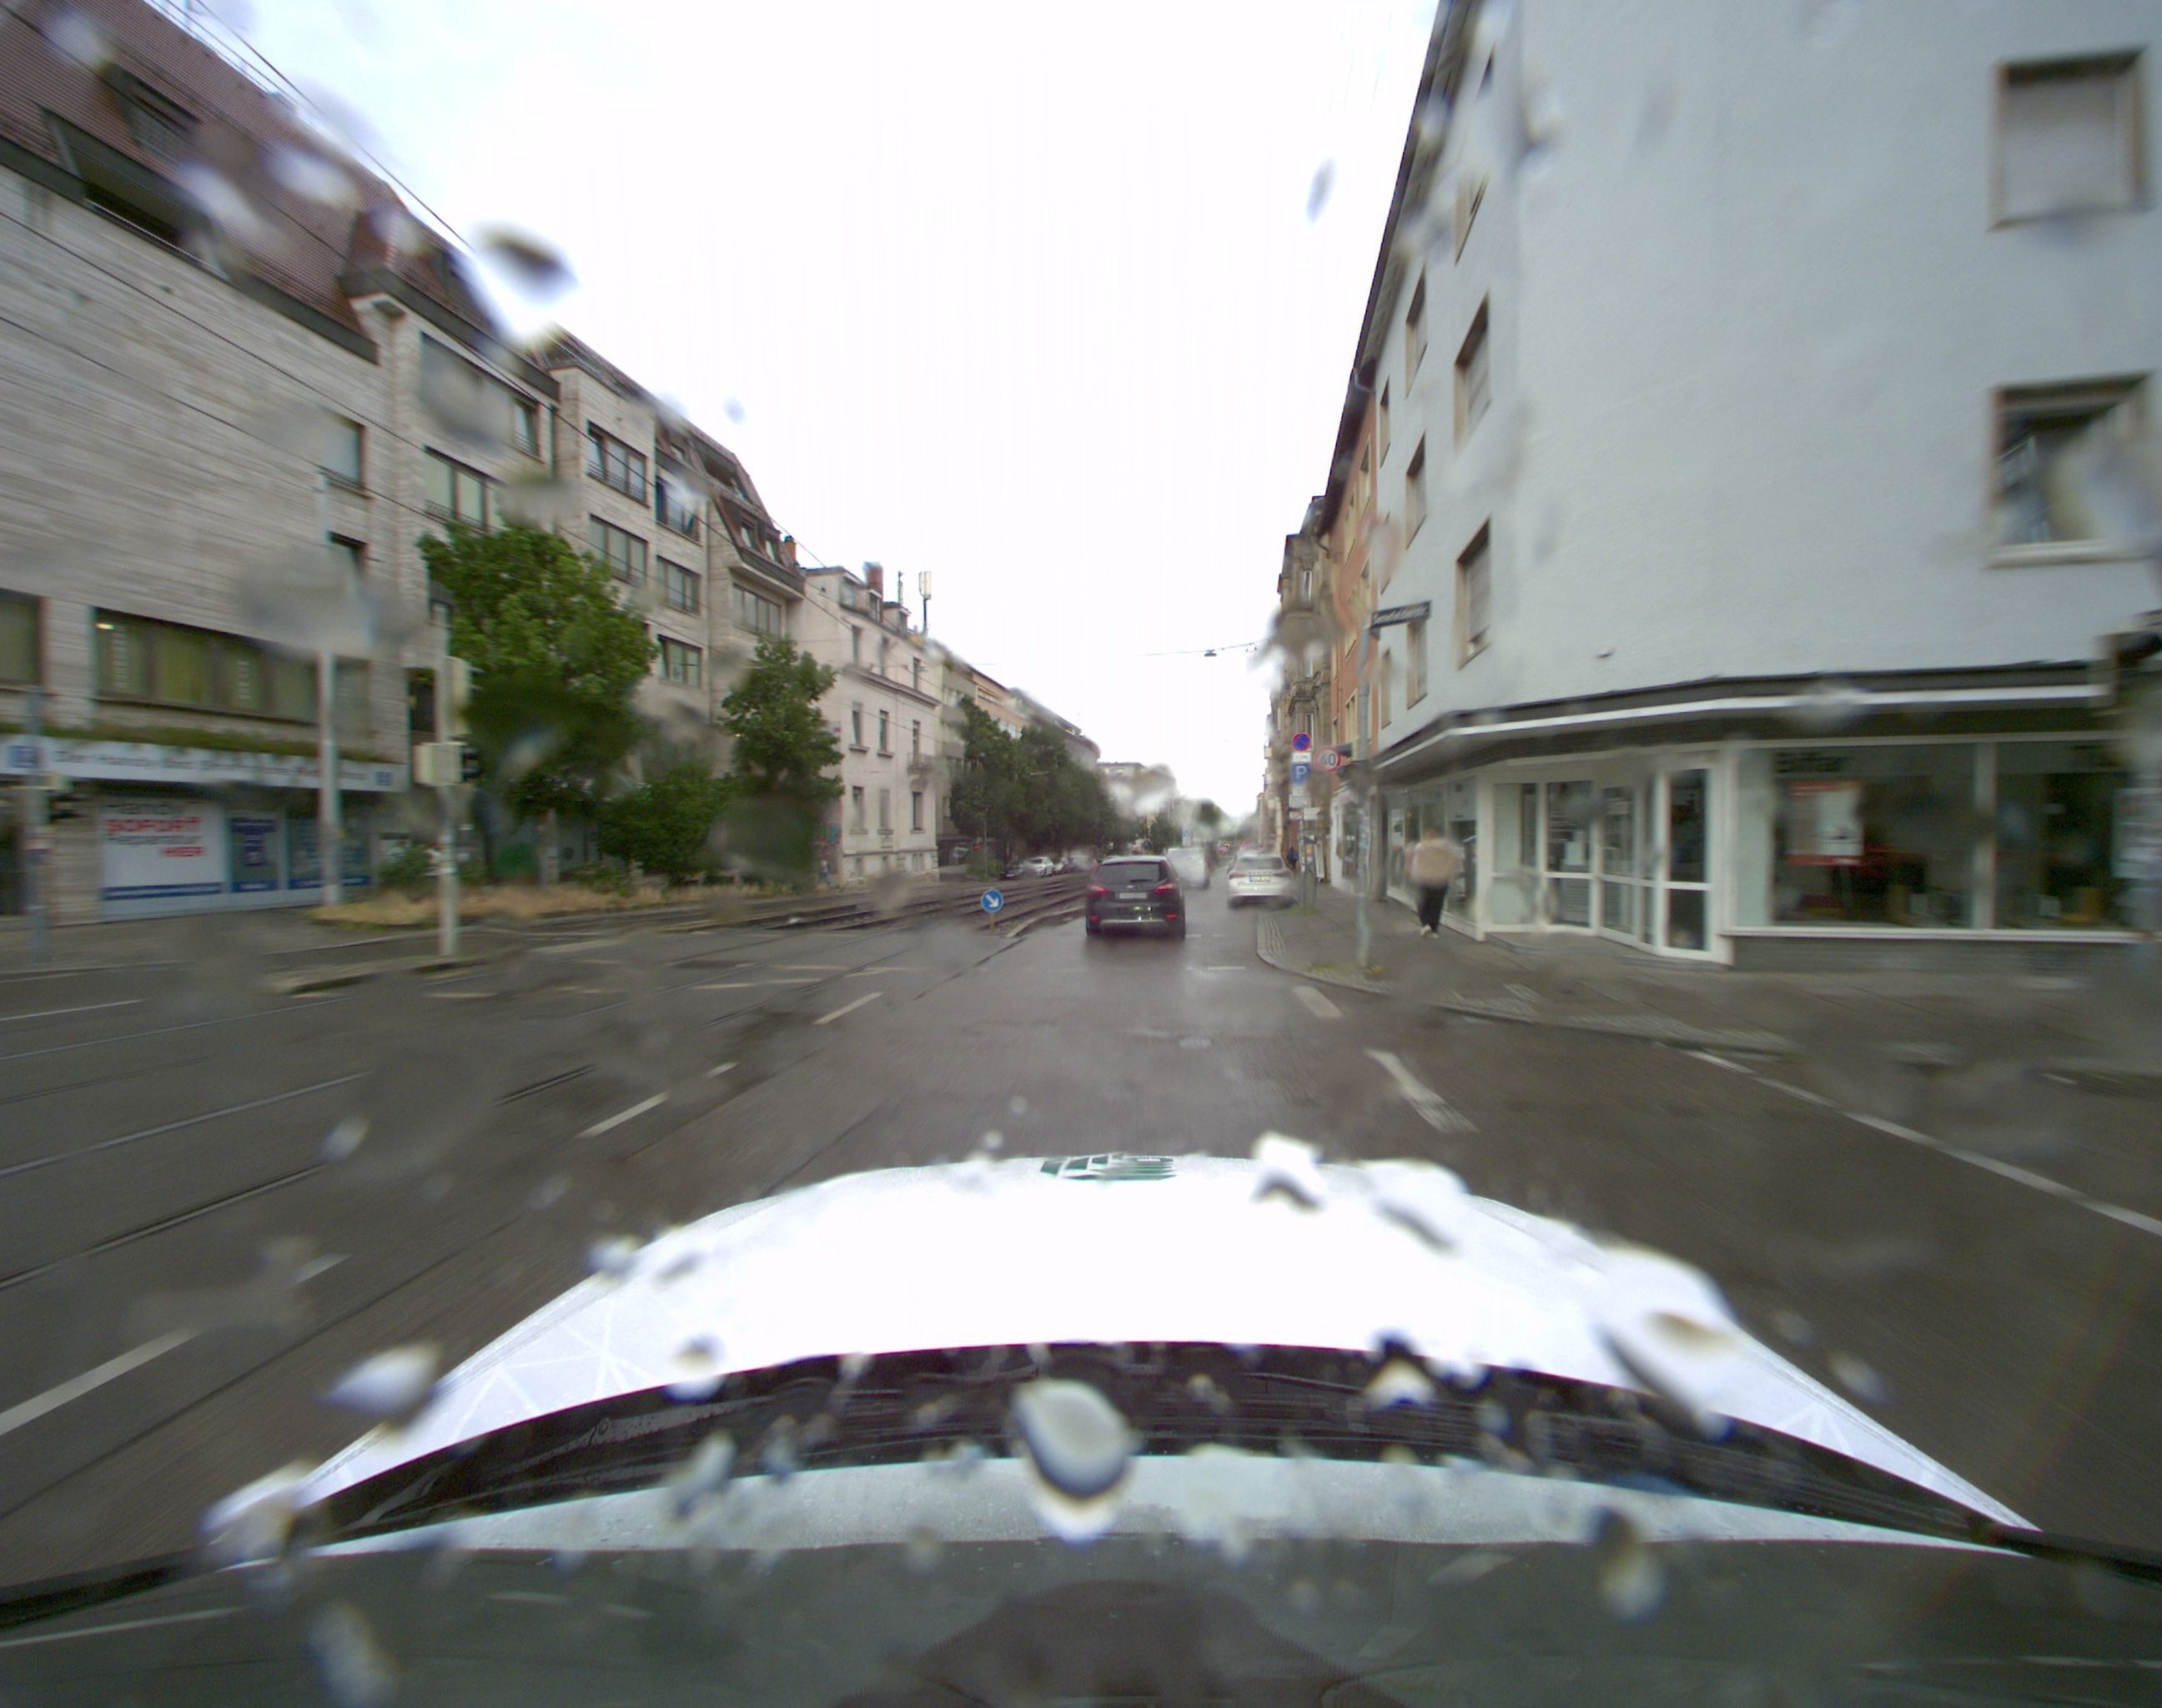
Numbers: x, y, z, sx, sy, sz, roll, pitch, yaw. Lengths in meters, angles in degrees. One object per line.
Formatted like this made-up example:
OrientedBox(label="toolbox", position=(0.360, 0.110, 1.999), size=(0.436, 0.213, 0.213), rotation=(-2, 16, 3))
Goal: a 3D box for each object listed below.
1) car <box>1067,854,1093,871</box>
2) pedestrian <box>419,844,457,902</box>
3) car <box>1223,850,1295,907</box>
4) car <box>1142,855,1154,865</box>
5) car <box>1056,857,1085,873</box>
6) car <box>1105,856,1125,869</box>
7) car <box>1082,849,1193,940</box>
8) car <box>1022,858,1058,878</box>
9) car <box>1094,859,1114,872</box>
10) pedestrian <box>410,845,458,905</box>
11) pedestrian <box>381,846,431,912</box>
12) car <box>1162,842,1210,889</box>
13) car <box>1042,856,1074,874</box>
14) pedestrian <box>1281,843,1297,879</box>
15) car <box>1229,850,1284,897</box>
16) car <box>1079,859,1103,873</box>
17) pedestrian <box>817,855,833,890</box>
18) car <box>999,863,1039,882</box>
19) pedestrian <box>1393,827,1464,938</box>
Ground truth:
OrientedBox(label="car", position=(-0.088, 0.869, 84.349), size=(1.843, 1.701, 4.445), rotation=(0, -1, 12))
OrientedBox(label="pedestrian", position=(-17.955, 0.524, 22.750), size=(0.501, 1.598, 0.587), rotation=(2, -2, 9))
OrientedBox(label="car", position=(5.075, 0.684, 23.325), size=(1.790, 1.456, 4.601), rotation=(-2, -2, 12))
OrientedBox(label="car", position=(12.347, 1.103, 149.720), size=(1.843, 1.637, 4.059), rotation=(0, -1, 12))
OrientedBox(label="car", position=(-0.982, 1.098, 78.338), size=(1.843, 1.418, 4.445), rotation=(-3, -2, 12))
OrientedBox(label="car", position=(4.509, 1.161, 106.531), size=(1.843, 1.637, 4.951), rotation=(0, -1, 12))
OrientedBox(label="car", position=(1.140, 0.727, 15.706), size=(1.833, 1.507, 4.006), rotation=(-1, -1, 5))
OrientedBox(label="car", position=(-3.333, 1.171, 67.014), size=(1.843, 1.549, 4.735), rotation=(0, -1, 12))
OrientedBox(label="car", position=(2.815, 1.391, 97.048), size=(1.657, 1.558, 4.059), rotation=(0, -1, 12))
OrientedBox(label="pedestrian", position=(-17.307, 0.566, 21.793), size=(0.644, 1.549, 0.685), rotation=(2, -2, 10))
OrientedBox(label="pedestrian", position=(-18.084, 0.670, 21.832), size=(0.644, 1.724, 0.685), rotation=(2, -2, 10))
OrientedBox(label="car", position=(5.002, 0.501, 38.269), size=(1.976, 2.060, 4.659), rotation=(0, 0, 11))
OrientedBox(label="car", position=(-2.030, 0.976, 73.372), size=(1.843, 1.549, 4.445), rotation=(0, -1, 12))
OrientedBox(label="pedestrian", position=(10.960, 0.371, 42.955), size=(0.698, 1.819, 0.964), rotation=(-3, 0, 11))
OrientedBox(label="car", position=(6.506, 0.715, 30.215), size=(1.833, 1.632, 4.601), rotation=(0, -1, 12))
OrientedBox(label="car", position=(1.103, 1.365, 90.196), size=(1.843, 1.527, 4.059), rotation=(0, -1, 12))
OrientedBox(label="pedestrian", position=(-12.102, 0.867, 38.502), size=(0.466, 1.652, 0.582), rotation=(2, -2, -1))
OrientedBox(label="car", position=(-4.614, 1.422, 61.019), size=(1.682, 1.378, 4.735), rotation=(0, -2, 12))
OrientedBox(label="pedestrian", position=(5.095, 0.416, 11.979), size=(0.686, 1.572, 0.763), rotation=(-1, -2, 0))
